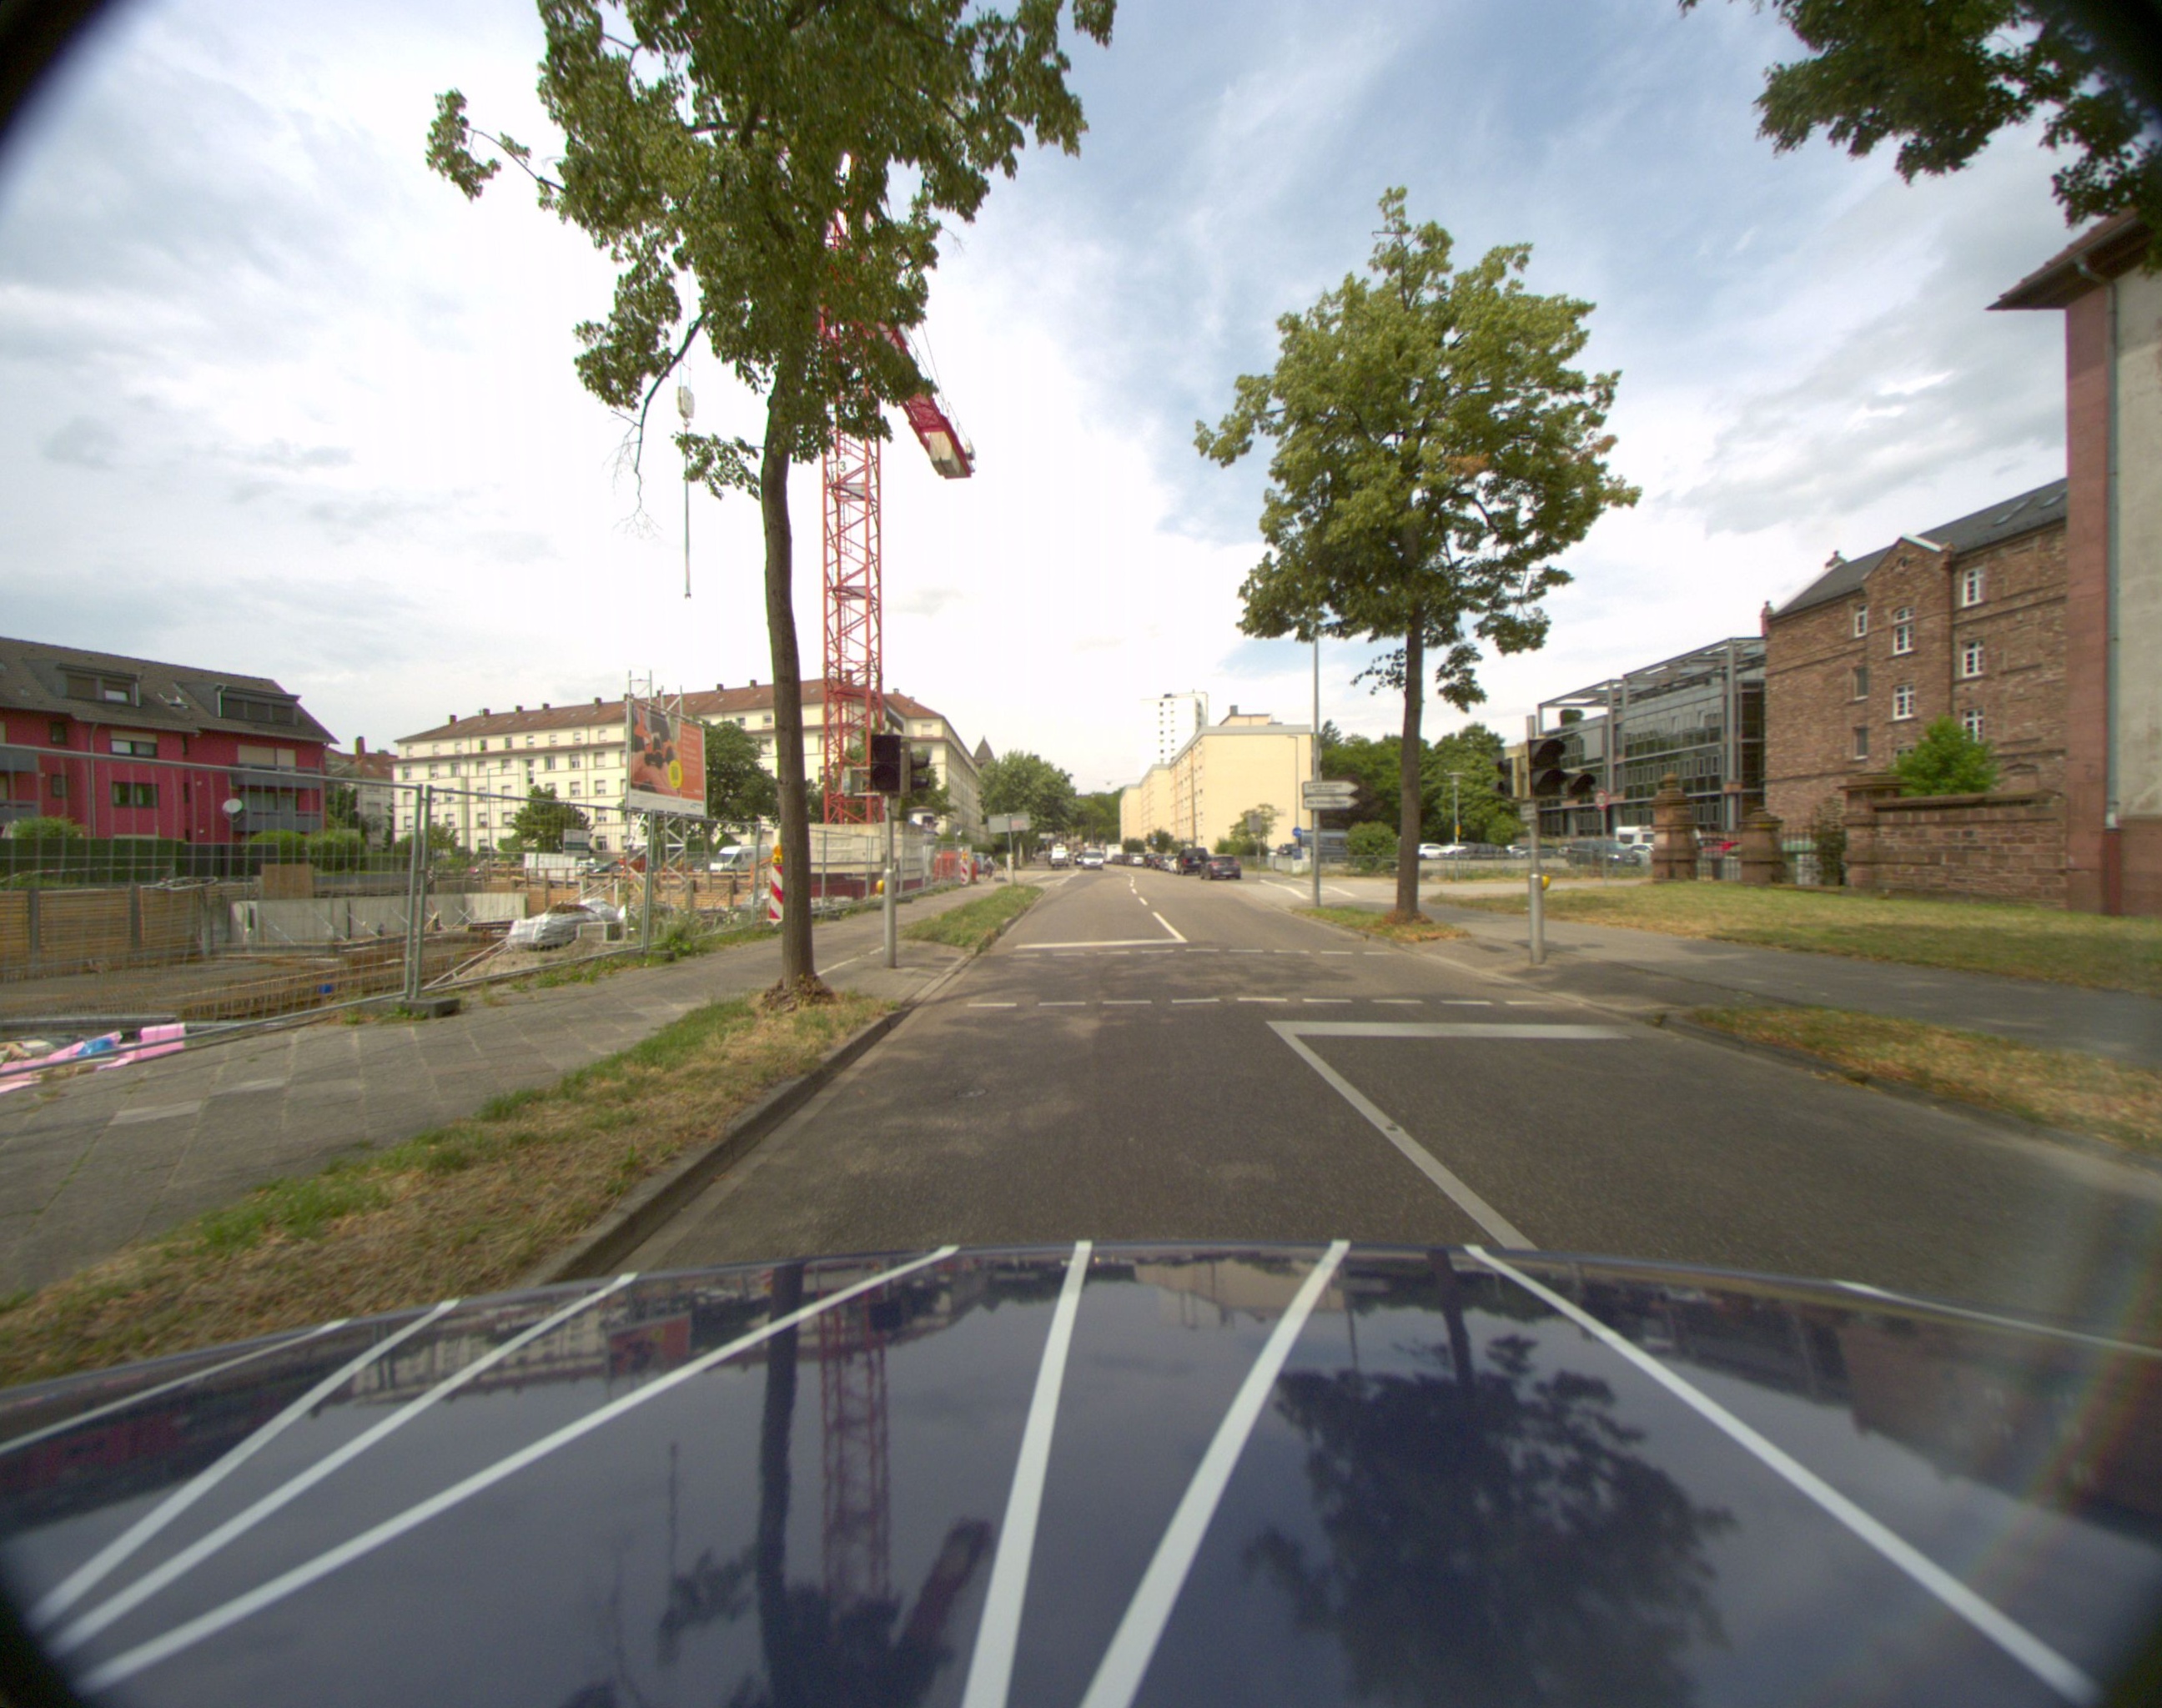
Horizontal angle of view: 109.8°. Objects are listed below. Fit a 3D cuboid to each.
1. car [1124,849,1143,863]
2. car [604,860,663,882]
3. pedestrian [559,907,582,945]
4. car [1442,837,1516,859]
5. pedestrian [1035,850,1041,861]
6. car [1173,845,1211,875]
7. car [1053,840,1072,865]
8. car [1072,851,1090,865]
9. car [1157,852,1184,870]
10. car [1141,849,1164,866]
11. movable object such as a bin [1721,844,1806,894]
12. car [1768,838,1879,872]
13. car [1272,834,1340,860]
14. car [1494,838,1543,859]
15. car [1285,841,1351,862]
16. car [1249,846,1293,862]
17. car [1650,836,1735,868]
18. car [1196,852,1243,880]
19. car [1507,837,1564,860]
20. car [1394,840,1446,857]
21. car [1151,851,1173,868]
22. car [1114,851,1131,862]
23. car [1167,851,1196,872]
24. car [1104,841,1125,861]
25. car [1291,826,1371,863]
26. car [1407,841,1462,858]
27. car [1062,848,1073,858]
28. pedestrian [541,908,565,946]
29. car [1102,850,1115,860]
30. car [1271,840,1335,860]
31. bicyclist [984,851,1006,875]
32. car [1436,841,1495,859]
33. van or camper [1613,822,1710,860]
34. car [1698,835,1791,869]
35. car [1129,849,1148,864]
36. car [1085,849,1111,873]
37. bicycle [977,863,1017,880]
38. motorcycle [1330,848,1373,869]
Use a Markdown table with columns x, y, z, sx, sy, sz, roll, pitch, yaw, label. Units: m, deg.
| x | y | z | sx | sy | sz | roll | pitch | yaw | label |
| --- | --- | --- | --- | --- | --- | --- | --- | --- | --- |
| 6.463 | 0.256 | 93.944 | 1.722 | 1.615 | 3.838 | -1 | 1 | -4 | car |
| -37.791 | 1.420 | 64.227 | 1.796 | 1.580 | 3.923 | -3 | 1 | 21 | car |
| -25.021 | 3.510 | 37.239 | 0.842 | 1.712 | 0.722 | 2 | 2 | 38 | pedestrian |
| 31.817 | -0.466 | 60.924 | 4.703 | 1.654 | 2.330 | 0 | 1 | 2 | car |
| -6.789 | 0.195 | 120.225 | 0.808 | 1.793 | 0.763 | 1 | 1 | -2 | pedestrian |
| 7.973 | 0.423 | 54.863 | 1.953 | 1.992 | 4.843 | -2 | 0 | 0 | car |
| -2.059 | -0.152 | 84.159 | 1.900 | 2.587 | 4.903 | -3 | 1 | -2 | car |
| -0.043 | 0.448 | 95.489 | 1.999 | 1.656 | 3.998 | 1 | 1 | -2 | car |
| 7.739 | 0.574 | 65.999 | 1.692 | 1.448 | 4.262 | -1 | 0 | -2 | car |
| 7.262 | 0.340 | 77.402 | 1.626 | 1.566 | 3.998 | -1 | 1 | -4 | car |
| 20.850 | 0.435 | 23.263 | 1.204 | 1.459 | 1.571 | -1 | 1 | 2 | movable object such as a bin |
| 43.231 | 0.062 | 44.290 | 4.516 | 1.926 | 1.876 | 0 | 1 | 2 | car |
| 18.914 | -0.610 | 64.070 | 5.097 | 2.137 | 2.229 | 0 | 0 | 3 | car |
| 43.326 | -0.536 | 75.372 | 3.721 | 2.002 | 1.972 | 0 | 1 | 6 | car |
| 19.046 | -0.199 | 61.292 | 4.707 | 1.608 | 2.001 | -1 | 0 | 2 | car |
| 19.093 | -0.017 | 76.435 | 3.995 | 1.474 | 2.001 | -1 | 1 | 6 | car |
| 42.219 | -0.153 | 52.517 | 4.372 | 2.124 | 1.726 | 0 | 1 | 2 | car |
| 8.067 | 0.682 | 44.539 | 1.827 | 1.464 | 4.296 | -3 | 0 | -1 | car |
| 43.012 | -0.525 | 72.007 | 4.228 | 2.124 | 1.971 | 0 | 1 | -1 | car |
| 31.662 | -0.506 | 70.987 | 3.997 | 1.474 | 1.857 | -1 | 1 | 0 | car |
| 7.622 | 0.486 | 71.823 | 1.691 | 1.462 | 4.048 | -1 | 1 | 0 | car |
| 5.747 | 0.346 | 105.178 | 1.722 | 1.498 | 4.623 | 0 | 1 | -5 | car |
| 7.950 | 0.589 | 60.288 | 1.658 | 1.520 | 3.764 | -2 | 0 | -2 | car |
| 5.155 | -0.487 | 117.622 | 2.622 | 3.040 | 7.112 | 1 | 0 | -2 | car |
| 19.243 | -0.724 | 58.619 | 5.323 | 2.537 | 2.354 | -3 | 1 | 2 | car |
| 31.800 | -0.446 | 68.399 | 3.997 | 1.474 | 1.970 | -1 | 1 | 0 | car |
| -2.513 | -0.184 | 140.787 | 1.949 | 1.656 | 3.998 | 1 | 1 | -2 | car |
| -25.440 | 3.511 | 36.614 | 0.842 | 1.712 | 0.722 | 2 | 2 | 38 | pedestrian |
| 4.618 | 0.148 | 129.665 | 1.853 | 1.623 | 4.217 | 1 | 1 | -2 | car |
| 19.443 | -0.344 | 66.633 | 5.097 | 1.663 | 2.001 | -1 | 0 | 3 | car |
| -5.154 | 0.540 | 45.494 | 1.078 | 1.404 | 0.716 | -3 | -1 | 33 | bicyclist |
| 32.070 | -0.358 | 63.455 | 4.166 | 1.474 | 1.616 | -1 | 1 | 0 | car |
| 41.882 | -0.950 | 54.932 | 5.061 | 2.687 | 2.581 | 0 | 1 | -1 | van or camper |
| 43.046 | -0.116 | 49.360 | 4.372 | 2.124 | 1.804 | 0 | 1 | 2 | car |
| 6.653 | 0.270 | 88.177 | 1.791 | 1.554 | 4.550 | -3 | 0 | -1 | car |
| 1.498 | 0.566 | 67.494 | 1.999 | 2.002 | 3.998 | 1 | 1 | -2 | car |
| -5.027 | 1.049 | 45.420 | 2.473 | 0.927 | 0.716 | -1 | 0 | 33 | bicycle |
| 14.900 | 0.243 | 41.914 | 2.095 | 1.135 | 0.725 | 1 | 1 | 5 | motorcycle |
